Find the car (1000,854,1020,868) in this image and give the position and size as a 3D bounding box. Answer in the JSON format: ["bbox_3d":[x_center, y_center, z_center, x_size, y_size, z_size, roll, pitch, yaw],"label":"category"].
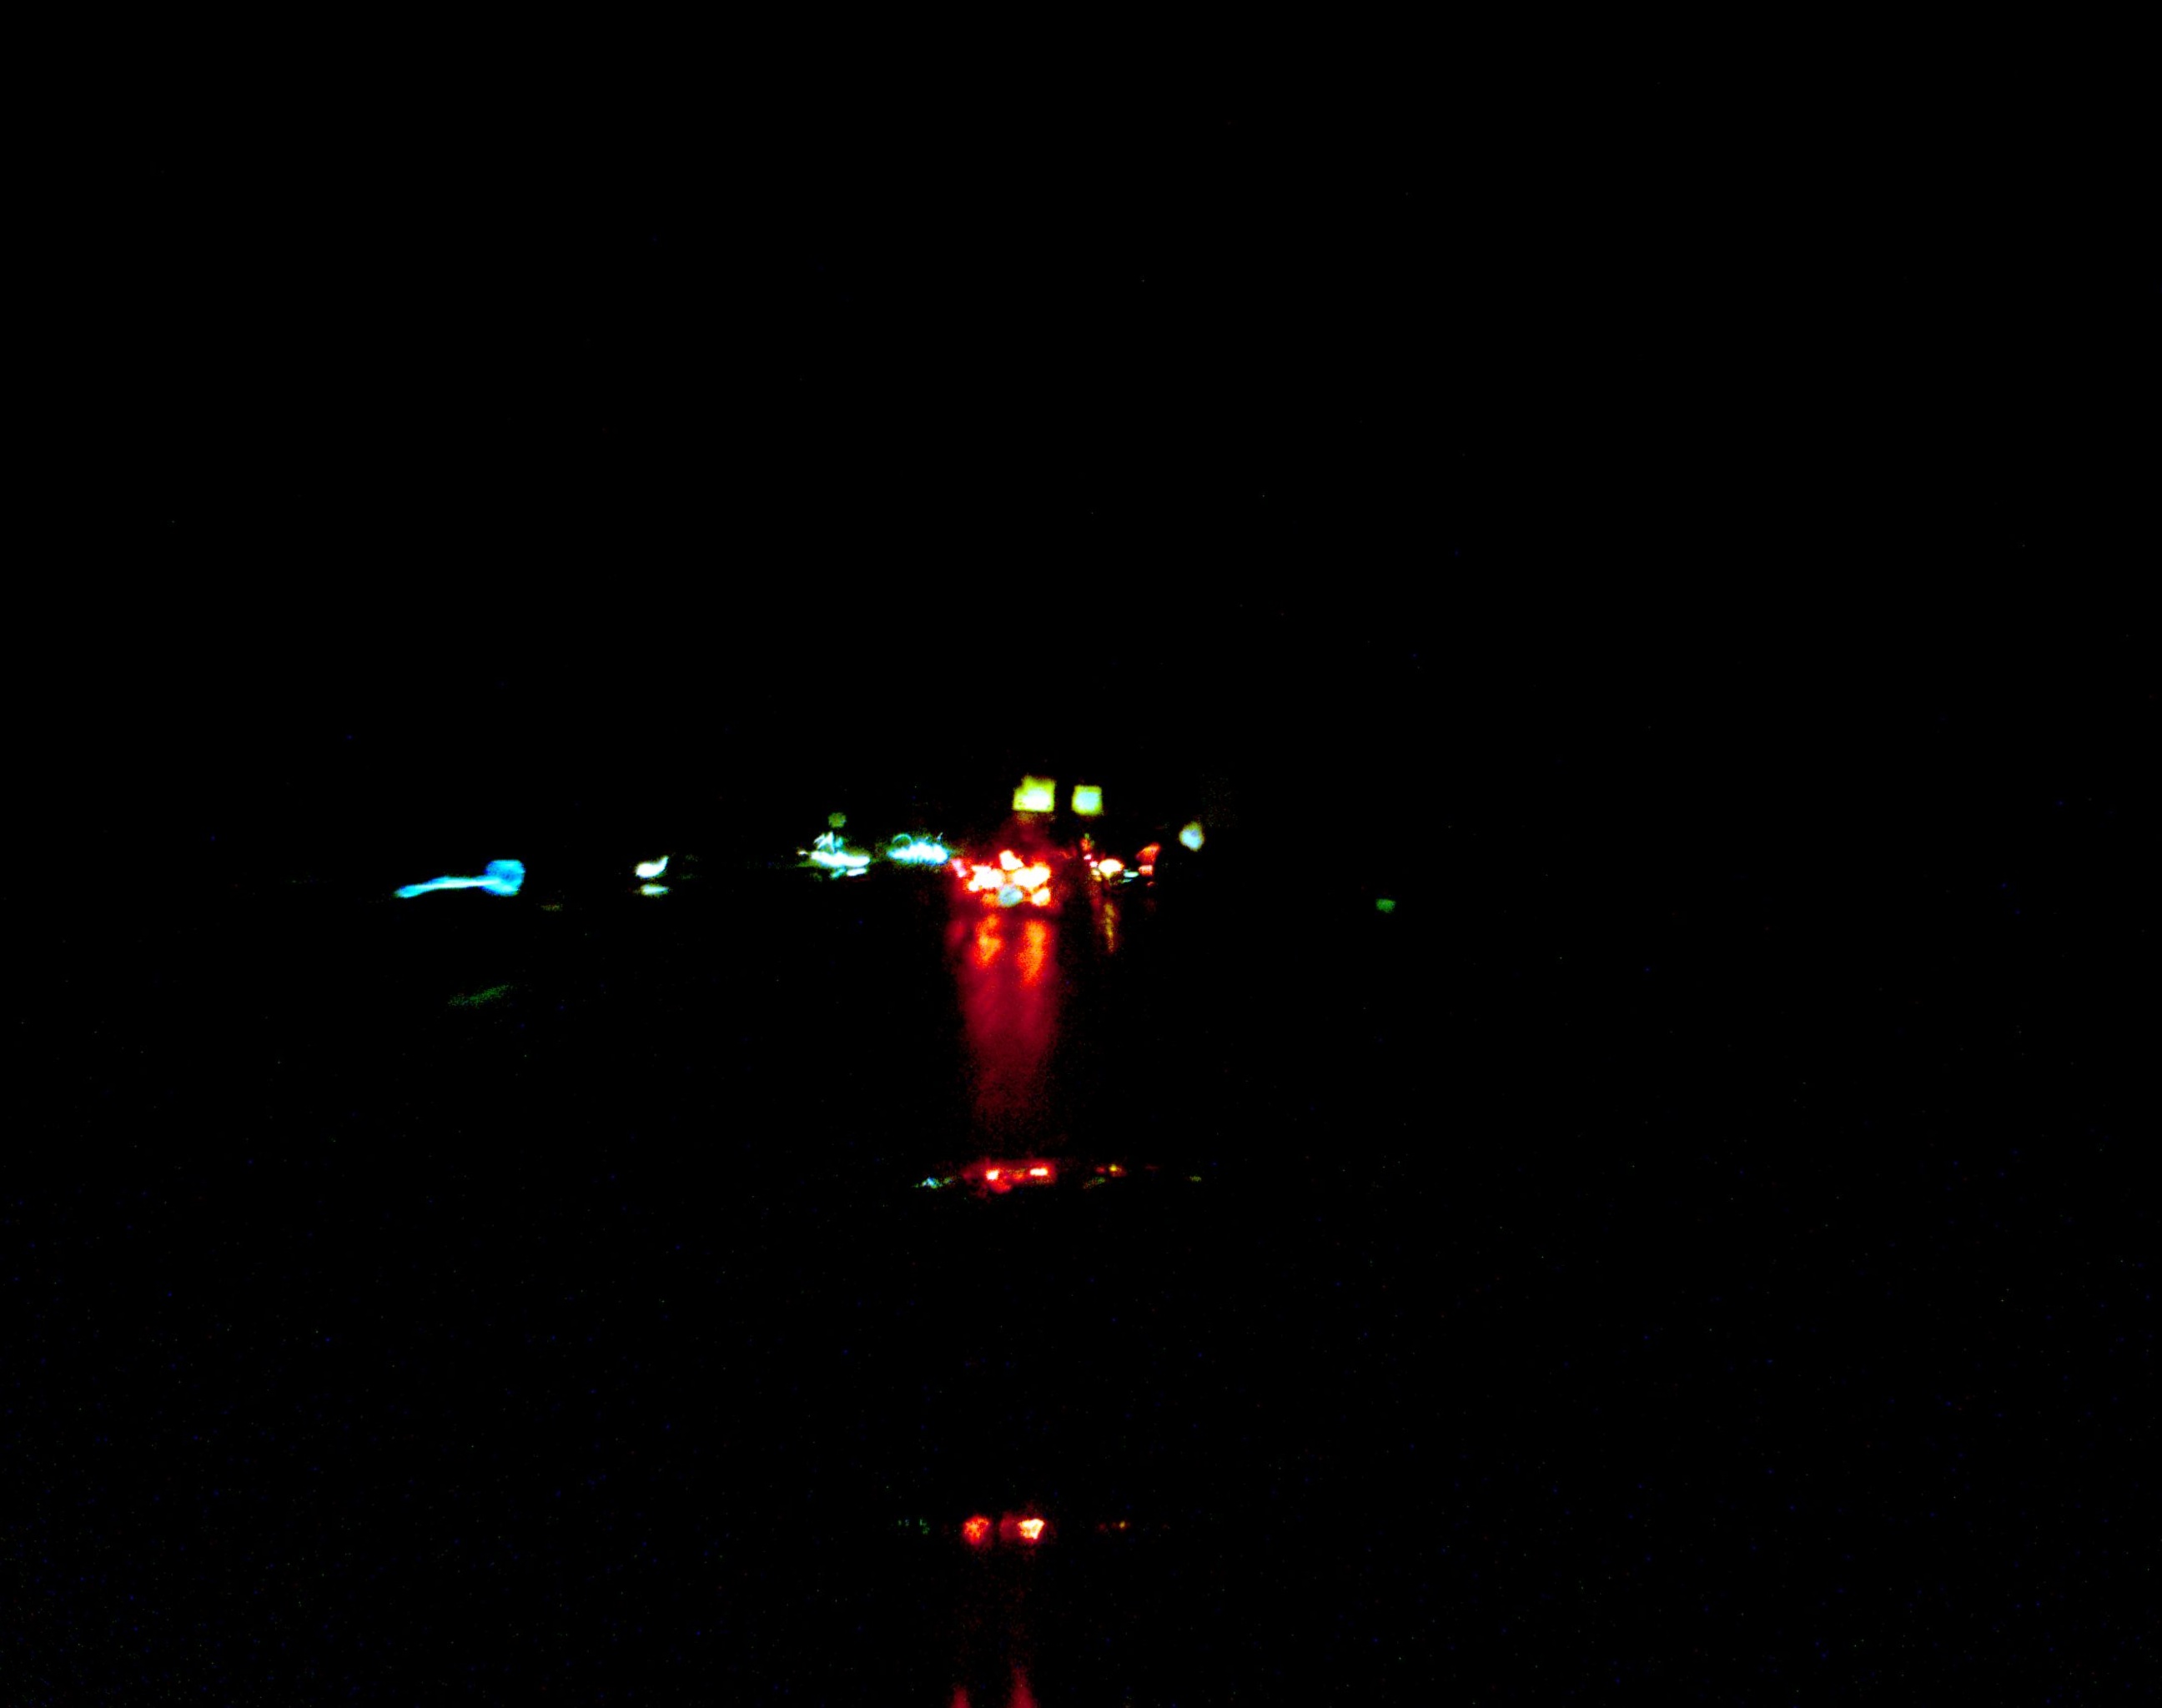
[{"bbox_3d":[-7.768,0.786,89.560,1.890,1.545,3.998,0,0,-1],"label":"car"}]

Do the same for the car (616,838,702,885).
[{"bbox_3d":[-16.361,0.279,31.739,1.548,1.723,3.164,0,0,3],"label":"car"}]

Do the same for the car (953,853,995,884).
[{"bbox_3d":[-5.562,0.731,42.819,1.888,1.550,3.995,0,-1,-4],"label":"car"}]

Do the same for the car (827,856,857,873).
[{"bbox_3d":[-24.343,1.066,83.026,1.837,1.648,4.329,0,-1,-2],"label":"car"}]

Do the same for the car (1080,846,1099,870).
[{"bbox_3d":[0.725,0.321,69.945,1.549,2.013,3.999,0,0,0],"label":"car"}]

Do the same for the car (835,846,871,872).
[{"bbox_3d":[-18.363,0.418,65.846,1.989,2.014,3.995,0,-1,-3],"label":"car"}]

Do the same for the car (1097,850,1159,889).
[{"bbox_3d":[1.715,0.581,31.091,1.957,1.380,4.045,0,-1,-2],"label":"car"}]

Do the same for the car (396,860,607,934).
[{"bbox_3d":[-13.172,0.907,18.923,1.876,1.508,4.304,0,-1,-1],"label":"car"}]

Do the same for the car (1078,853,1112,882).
[{"bbox_3d":[0.734,0.713,44.443,1.702,1.487,3.665,0,-1,-1],"label":"car"}]

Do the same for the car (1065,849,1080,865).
[{"bbox_3d":[-1.142,0.357,106.221,1.988,2.014,3.998,0,-1,-1],"label":"car"}]
